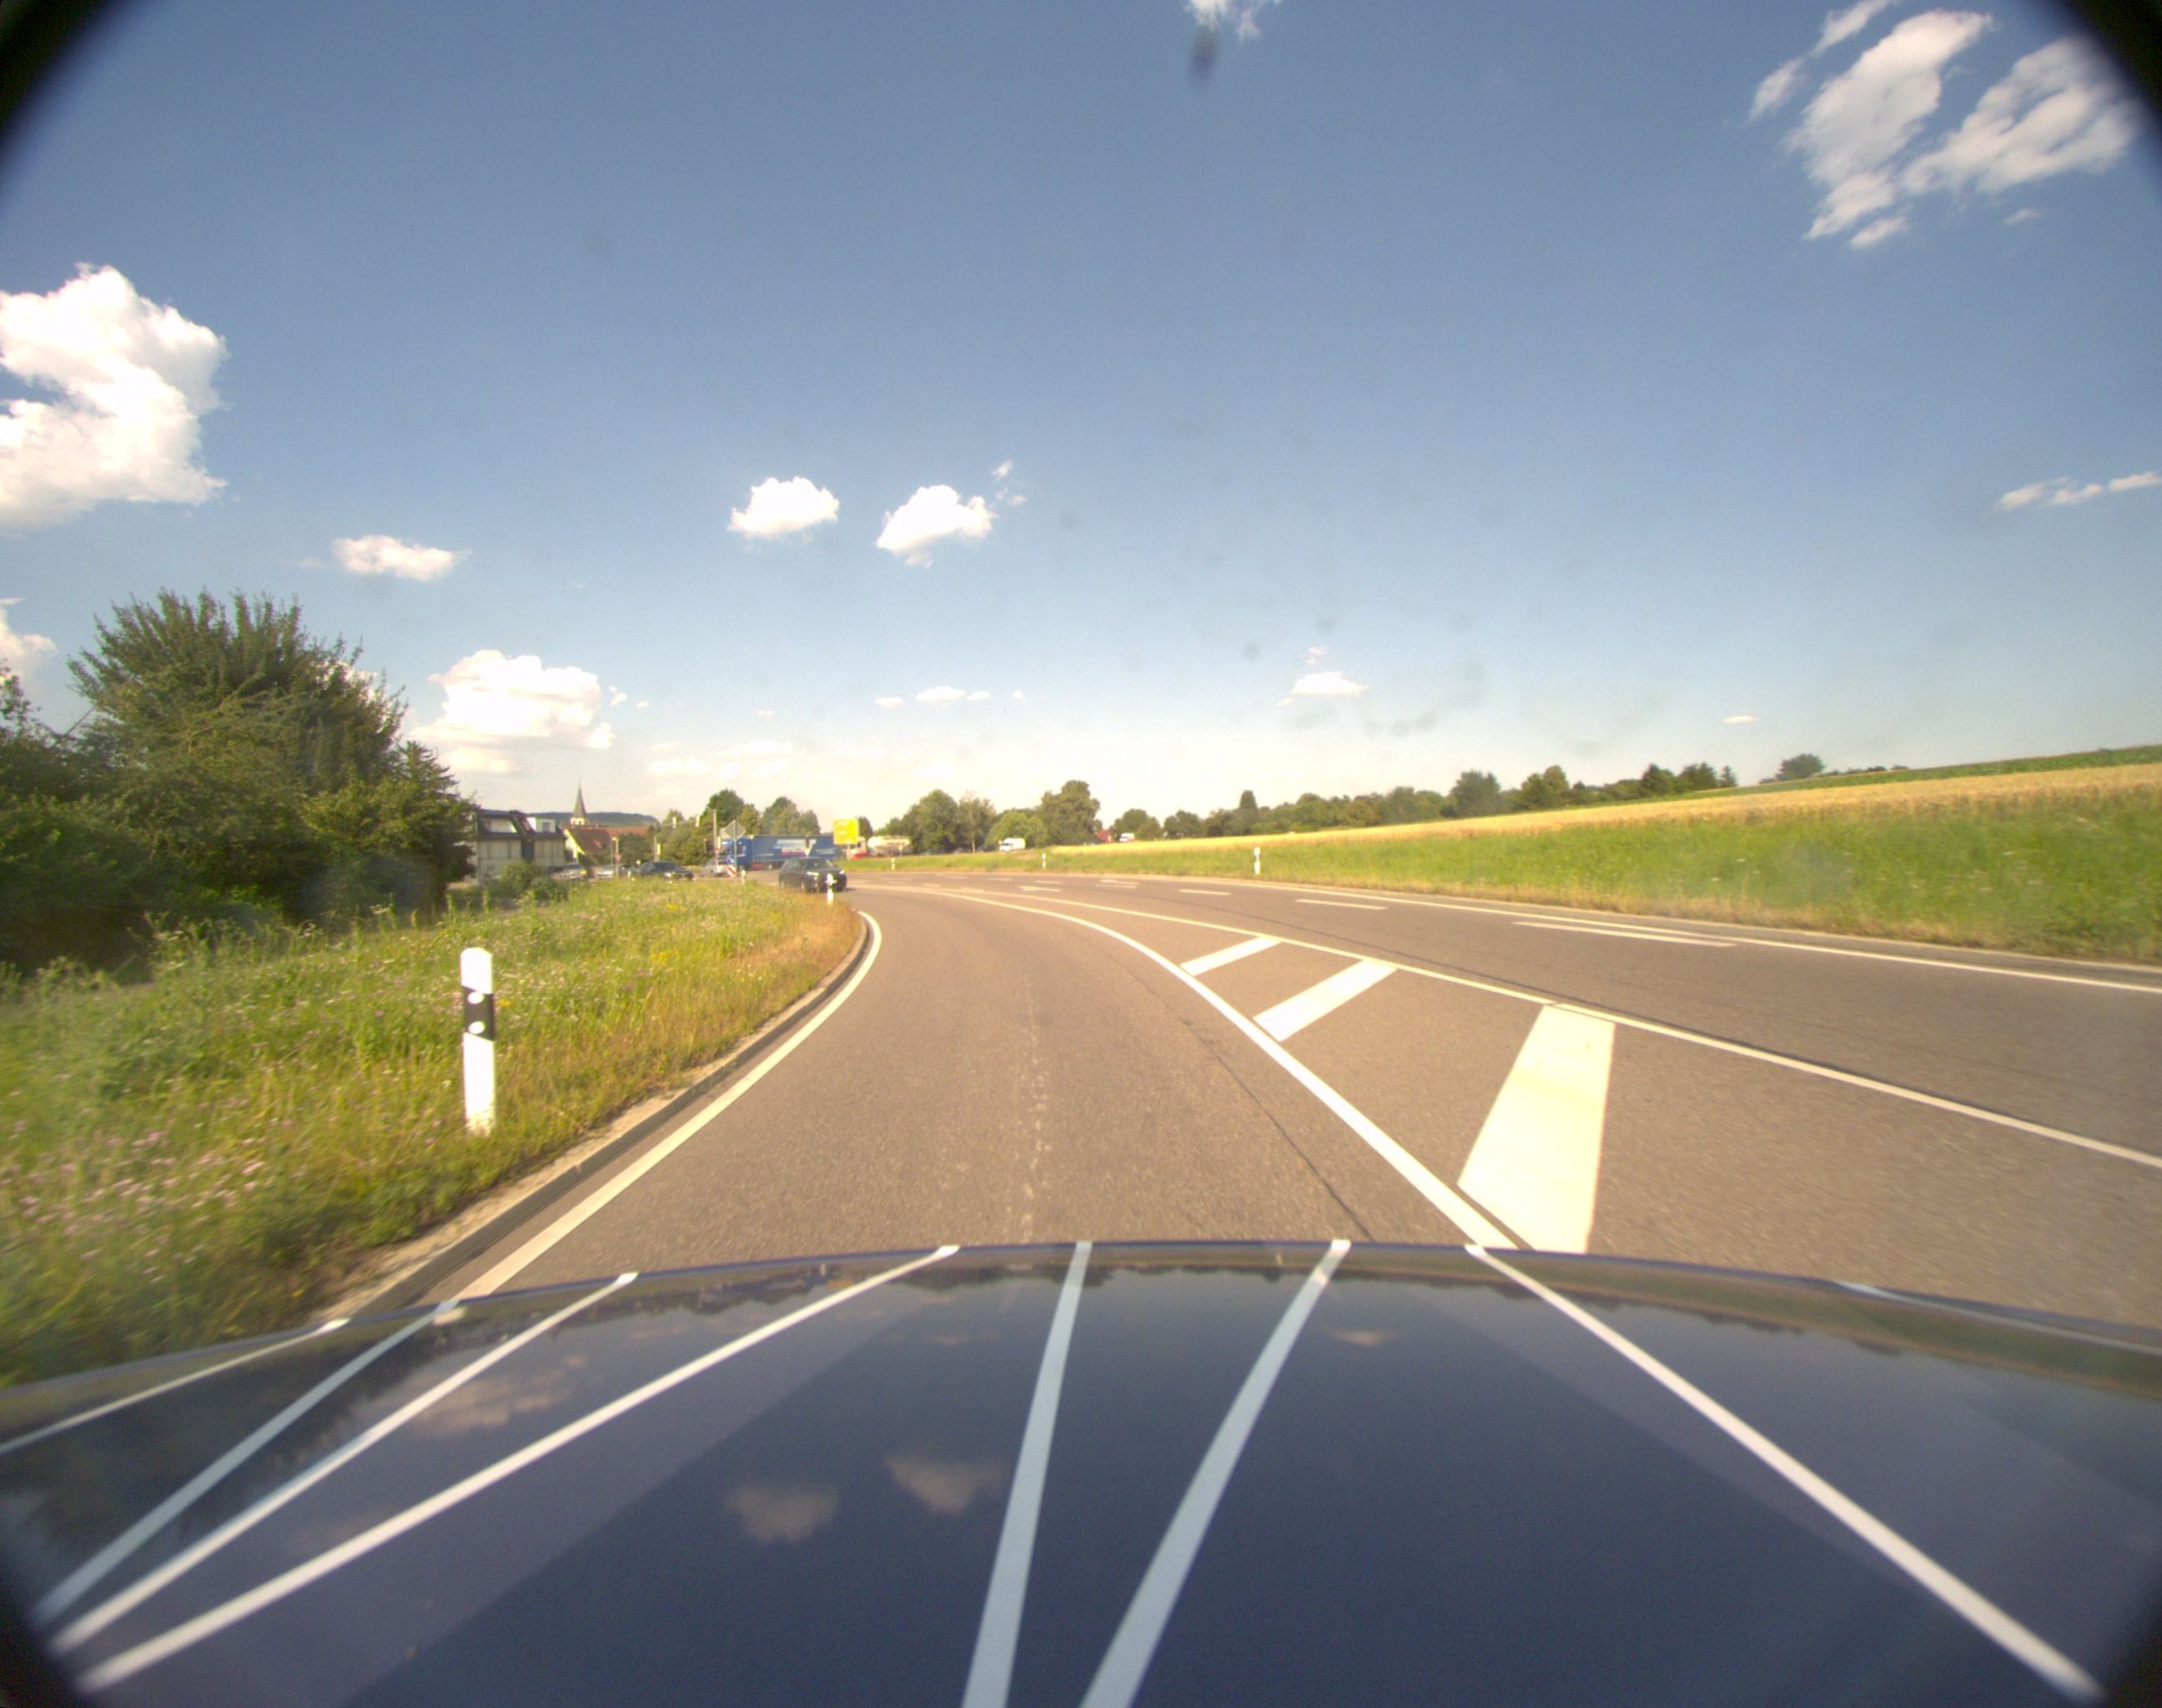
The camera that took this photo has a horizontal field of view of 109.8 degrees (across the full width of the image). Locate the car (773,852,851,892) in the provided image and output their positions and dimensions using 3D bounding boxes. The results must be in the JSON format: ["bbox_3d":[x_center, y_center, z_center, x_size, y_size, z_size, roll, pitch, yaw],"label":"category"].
[{"bbox_3d":[-12.351,0.819,34.737,1.792,1.620,4.457,-4,2,-40],"label":"car"}]

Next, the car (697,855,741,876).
[{"bbox_3d":[-31.205,0.967,65.501,4.342,1.519,1.824,-4,0,42],"label":"car"}]

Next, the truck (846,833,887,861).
[{"bbox_3d":[-30.611,-1.046,108.729,2.257,3.783,5.694,-2,2,26],"label":"truck"}]

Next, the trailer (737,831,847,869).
[{"bbox_3d":[-34.890,-0.625,92.783,3.411,3.982,13.769,-2,1,26],"label":"trailer"}]

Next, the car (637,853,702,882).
[{"bbox_3d":[-25.248,0.850,46.562,4.535,1.604,1.779,-2,2,38],"label":"car"}]

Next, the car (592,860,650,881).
[{"bbox_3d":[-41.917,1.448,69.337,1.995,1.478,4.004,-3,3,26],"label":"car"}]

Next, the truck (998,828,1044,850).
[{"bbox_3d":[-11.575,-3.018,148.437,2.524,3.752,12.917,-2,1,26],"label":"truck"}]

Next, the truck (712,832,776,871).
[{"bbox_3d":[-38.115,-0.320,86.070,3.368,3.982,5.609,-2,2,26],"label":"truck"}]

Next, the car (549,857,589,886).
[{"bbox_3d":[-38.326,1.282,56.835,1.911,1.937,4.360,-7,4,-39],"label":"car"}]

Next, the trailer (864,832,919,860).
[{"bbox_3d":[-28.216,-1.256,113.702,2.260,3.756,9.538,-3,1,26],"label":"trailer"}]

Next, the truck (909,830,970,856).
[{"bbox_3d":[-23.094,-1.914,125.175,2.524,3.752,12.917,-3,1,26],"label":"truck"}]

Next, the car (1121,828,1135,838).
[{"bbox_3d":[11.961,-5.335,193.282,1.996,2.002,4.005,-7,0,30],"label":"car"}]
